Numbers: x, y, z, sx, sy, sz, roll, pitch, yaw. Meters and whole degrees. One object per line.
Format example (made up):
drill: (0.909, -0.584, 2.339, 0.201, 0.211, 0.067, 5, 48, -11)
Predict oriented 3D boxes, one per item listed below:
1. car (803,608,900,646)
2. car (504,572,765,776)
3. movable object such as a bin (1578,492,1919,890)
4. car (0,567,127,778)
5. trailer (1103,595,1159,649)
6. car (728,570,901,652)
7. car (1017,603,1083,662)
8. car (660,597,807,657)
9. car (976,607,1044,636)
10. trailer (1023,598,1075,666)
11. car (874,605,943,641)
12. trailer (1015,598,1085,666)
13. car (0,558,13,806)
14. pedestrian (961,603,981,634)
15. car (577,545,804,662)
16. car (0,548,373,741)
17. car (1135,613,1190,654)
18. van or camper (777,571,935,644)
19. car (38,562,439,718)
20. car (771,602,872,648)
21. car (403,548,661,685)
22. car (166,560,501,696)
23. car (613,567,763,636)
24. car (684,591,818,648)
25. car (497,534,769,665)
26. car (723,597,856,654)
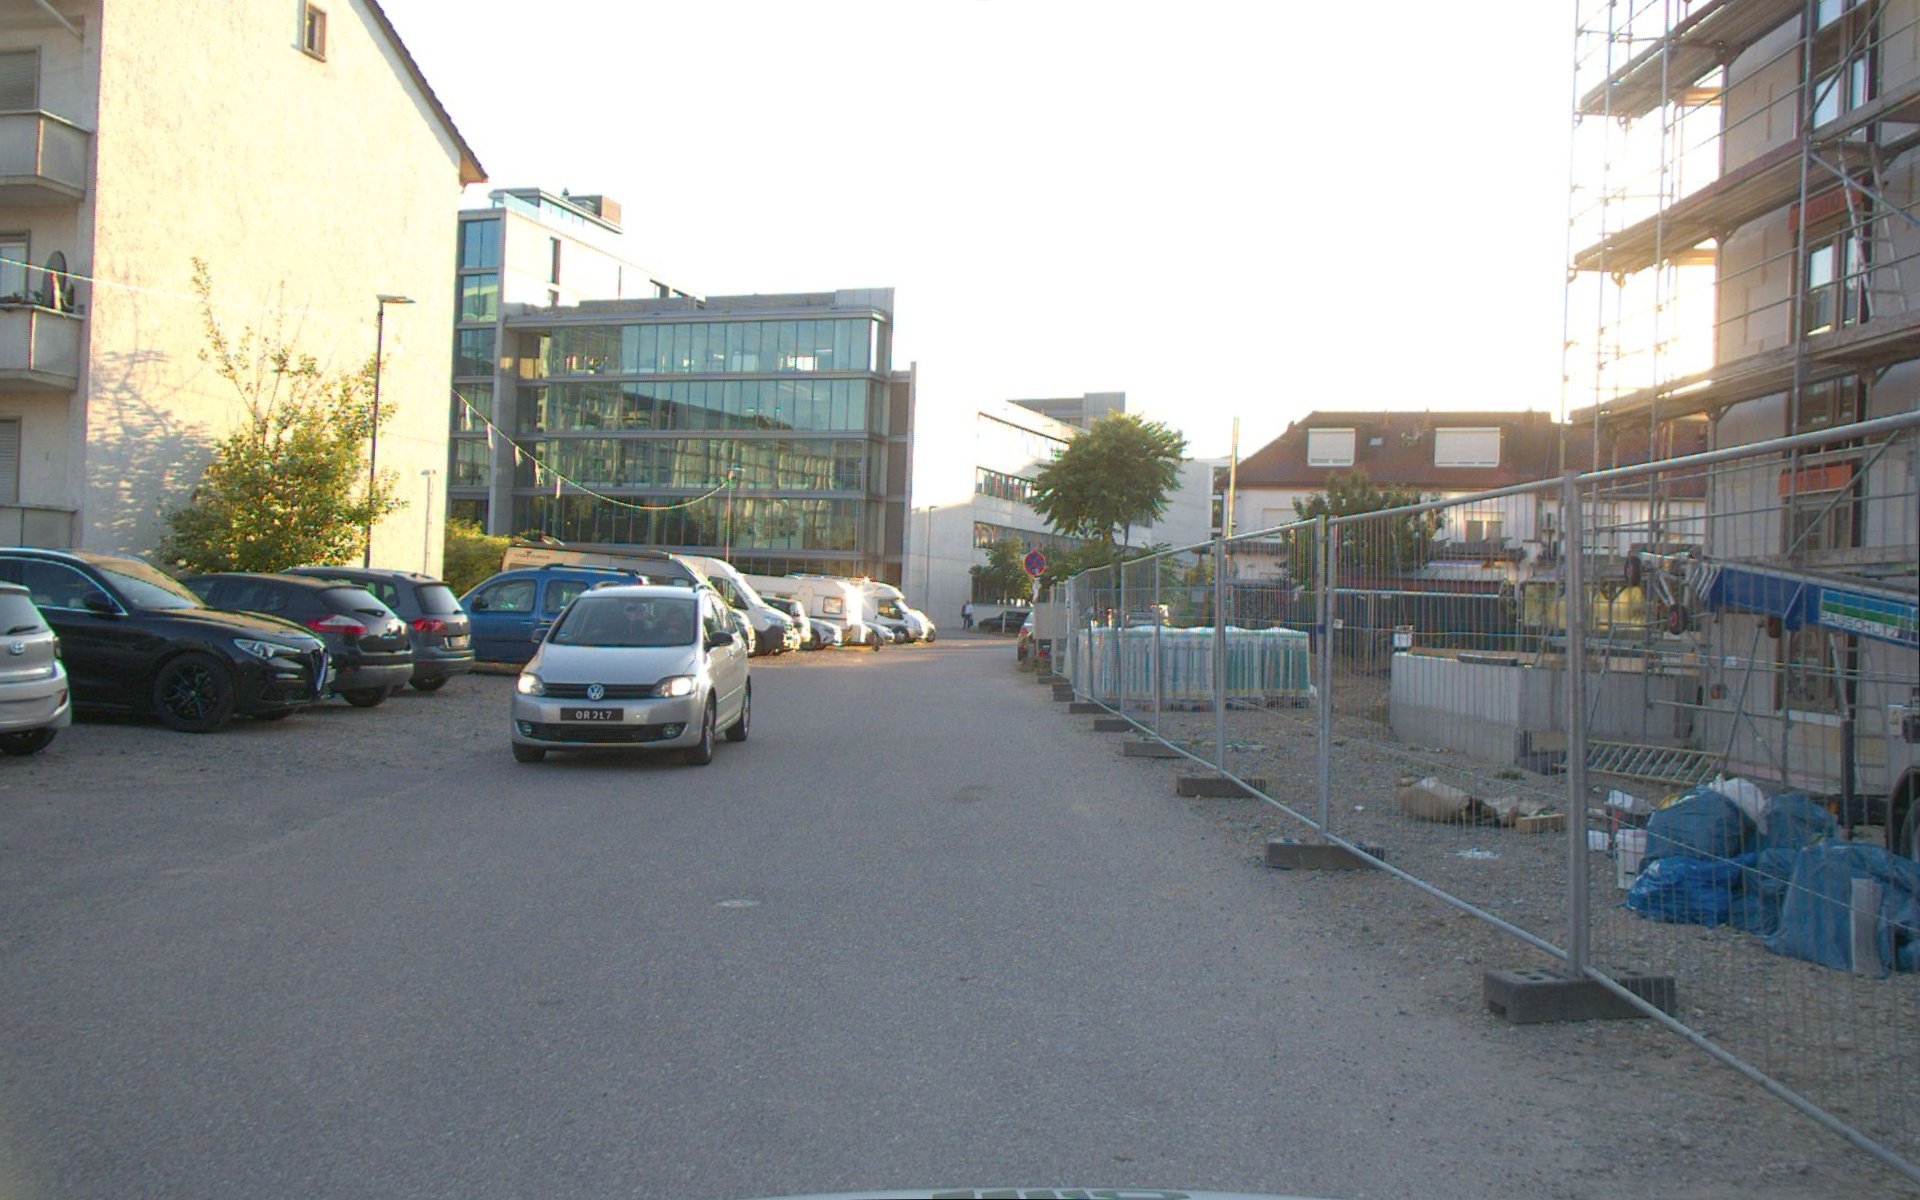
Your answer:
car: (-4.521, 1.134, 69.296, 3.727, 1.352, 1.694, 3, 0, 8)
car: (-2.973, 0.634, 15.971, 1.636, 1.648, 4.285, 2, 0, -1)
movable object such as a bin: (6.621, 0.548, 10.927, 2.022, 2.313, 8.368, 1, 0, 1)
car: (-9.089, 0.463, 13.336, 3.842, 1.547, 1.810, 3, 1, 9)
trailer: (7.564, 0.958, 72.677, 2.020, 2.250, 5.227, 1, 0, 10)
car: (-5.309, 0.408, 60.735, 5.763, 2.578, 2.413, 4, -2, 11)
car: (2.875, 0.991, 51.871, 1.767, 1.755, 4.931, 0, -1, 7)
car: (-6.531, 0.782, 47.888, 3.843, 1.533, 1.791, 2, -1, 5)
car: (2.956, 1.241, 97.892, 3.656, 1.507, 1.771, 3, 1, 16)
trailer: (2.252, 0.810, 42.350, 1.224, 1.694, 2.803, 0, -1, 1)
car: (-2.394, 1.125, 78.045, 1.652, 1.545, 4.361, 3, -1, 21)
trailer: (2.564, 0.871, 46.124, 1.694, 1.809, 4.940, 0, -1, 6)
car: (-8.454, 0.460, 10.427, 3.950, 1.648, 1.851, 2, -1, 9)
pedestrian: (0.656, 1.111, 100.718, 0.892, 1.883, 0.845, 1, 0, -37)
car: (-7.355, 0.082, 45.552, 5.705, 2.760, 2.051, 4, 0, 3)
car: (-8.089, 0.381, 16.163, 4.004, 1.656, 1.822, 2, 1, 2)
car: (10.895, 1.766, 88.730, 2.022, 2.131, 4.874, 1, 0, 18)
van or camper: (-4.651, 0.346, 74.588, 6.597, 2.948, 2.410, 3, 0, 11)
car: (-8.165, 0.446, 18.877, 3.842, 1.543, 1.644, 2, -1, 9)
car: (-5.358, 0.959, 64.291, 3.552, 1.545, 1.707, 3, 0, 6)
car: (-7.018, 0.270, 27.469, 3.852, 1.944, 1.745, 4, 0, -8)
car: (-8.350, 0.344, 22.176, 3.842, 1.608, 1.644, 2, 0, 9)
car: (-12.160, 0.047, 73.945, 6.111, 2.719, 2.224, 3, 0, 15)
car: (-6.691, 0.627, 53.114, 3.842, 1.618, 1.749, 2, 0, 13)
car: (-8.090, 0.016, 41.476, 6.261, 2.760, 2.112, 4, -2, -2)
car: (-5.741, 0.854, 55.833, 4.039, 1.618, 1.749, 4, 0, 13)
